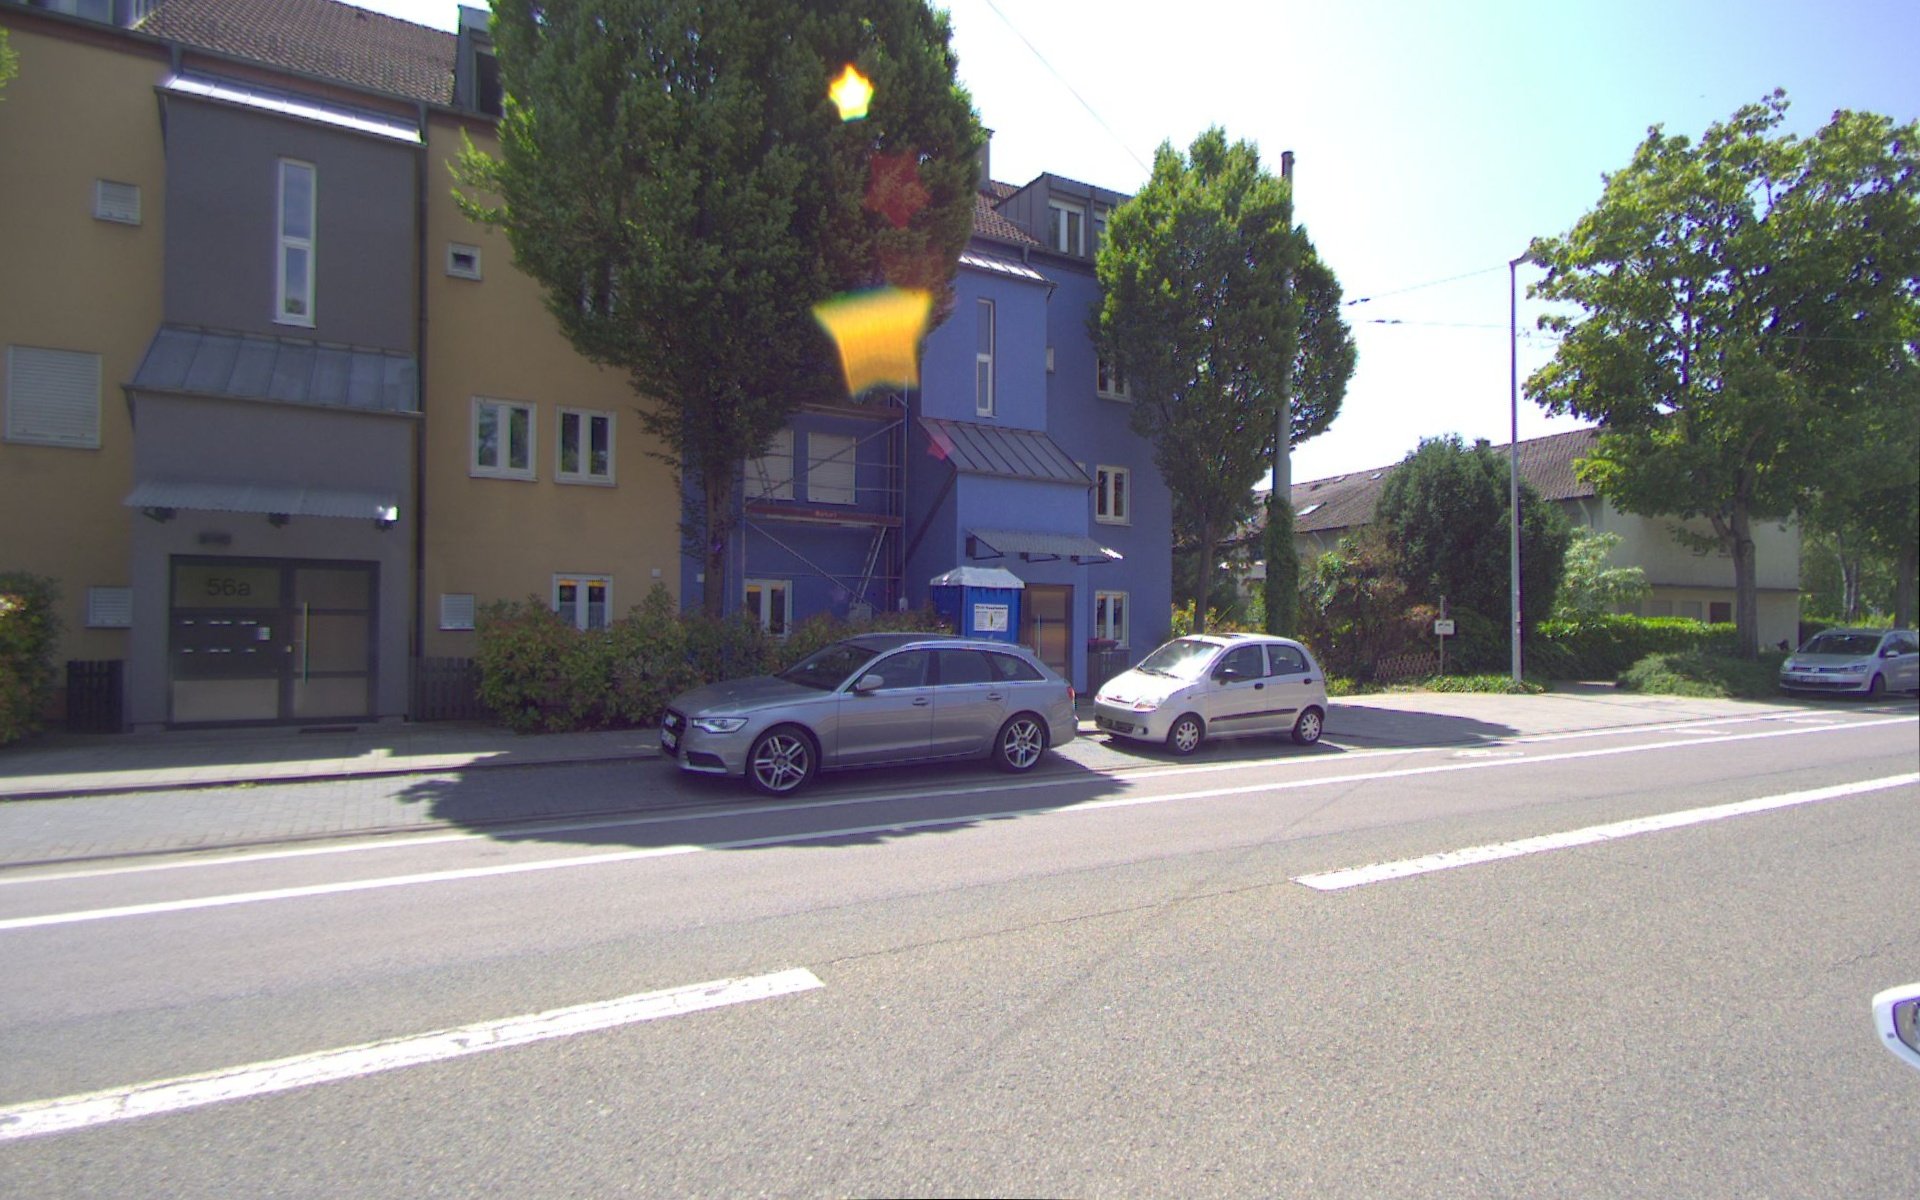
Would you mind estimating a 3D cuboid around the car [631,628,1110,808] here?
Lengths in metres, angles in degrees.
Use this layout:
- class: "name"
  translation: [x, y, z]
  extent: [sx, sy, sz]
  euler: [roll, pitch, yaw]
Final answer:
- class: "car"
  translation: [-0.874, 1.134, 11.229]
  extent: [5.075, 1.470, 1.777]
  euler: [1, 3, -32]

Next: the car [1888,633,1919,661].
- class: "car"
  translation: [55.422, 2.666, 56.573]
  extent: [1.891, 1.606, 4.321]
  euler: [1, -2, -31]

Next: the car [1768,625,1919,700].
- class: "car"
  translation: [22.157, 1.470, 24.858]
  extent: [4.725, 1.686, 1.863]
  euler: [1, -1, -31]

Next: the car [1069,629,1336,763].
- class: "car"
  translation: [3.389, 1.239, 13.966]
  extent: [3.408, 1.516, 1.585]
  euler: [1, 3, -30]

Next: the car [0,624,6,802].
- class: "car"
  translation: [-9.393, 0.944, 6.495]
  extent: [4.369, 1.462, 1.737]
  euler: [1, 3, -31]

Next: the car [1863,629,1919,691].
- class: "car"
  translation: [26.797, 1.632, 27.600]
  extent: [4.133, 1.585, 1.809]
  euler: [1, 0, -31]

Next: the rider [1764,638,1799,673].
- class: "rider"
  translation: [33.452, 2.235, 40.900]
  extent: [0.800, 1.392, 0.824]
  euler: [1, -2, -22]
